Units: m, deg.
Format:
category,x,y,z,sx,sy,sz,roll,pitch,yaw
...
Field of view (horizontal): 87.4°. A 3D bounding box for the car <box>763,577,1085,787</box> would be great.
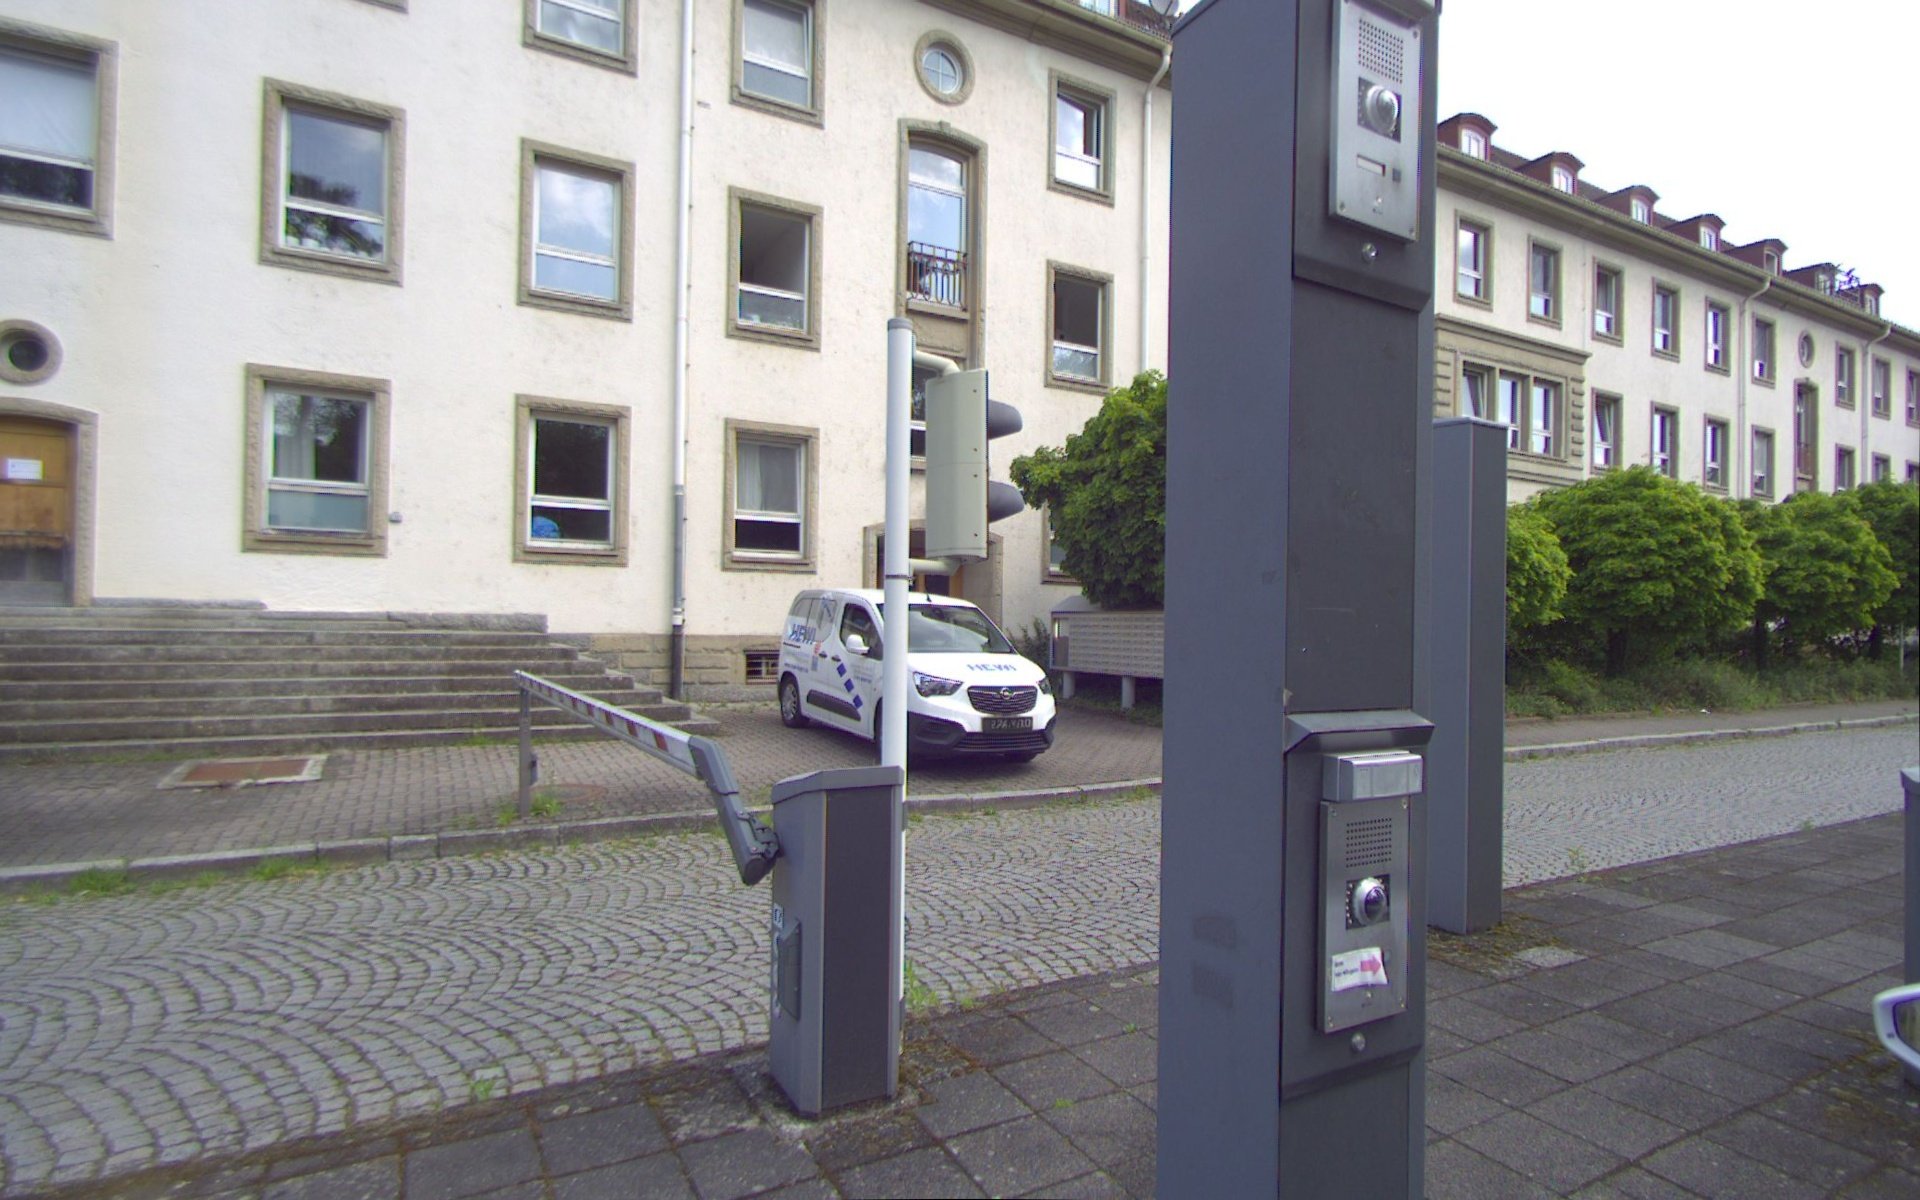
category,x,y,z,sx,sy,sz,roll,pitch,yaw
car,-0.637,0.752,11.620,1.800,1.830,4.277,2,2,-31
